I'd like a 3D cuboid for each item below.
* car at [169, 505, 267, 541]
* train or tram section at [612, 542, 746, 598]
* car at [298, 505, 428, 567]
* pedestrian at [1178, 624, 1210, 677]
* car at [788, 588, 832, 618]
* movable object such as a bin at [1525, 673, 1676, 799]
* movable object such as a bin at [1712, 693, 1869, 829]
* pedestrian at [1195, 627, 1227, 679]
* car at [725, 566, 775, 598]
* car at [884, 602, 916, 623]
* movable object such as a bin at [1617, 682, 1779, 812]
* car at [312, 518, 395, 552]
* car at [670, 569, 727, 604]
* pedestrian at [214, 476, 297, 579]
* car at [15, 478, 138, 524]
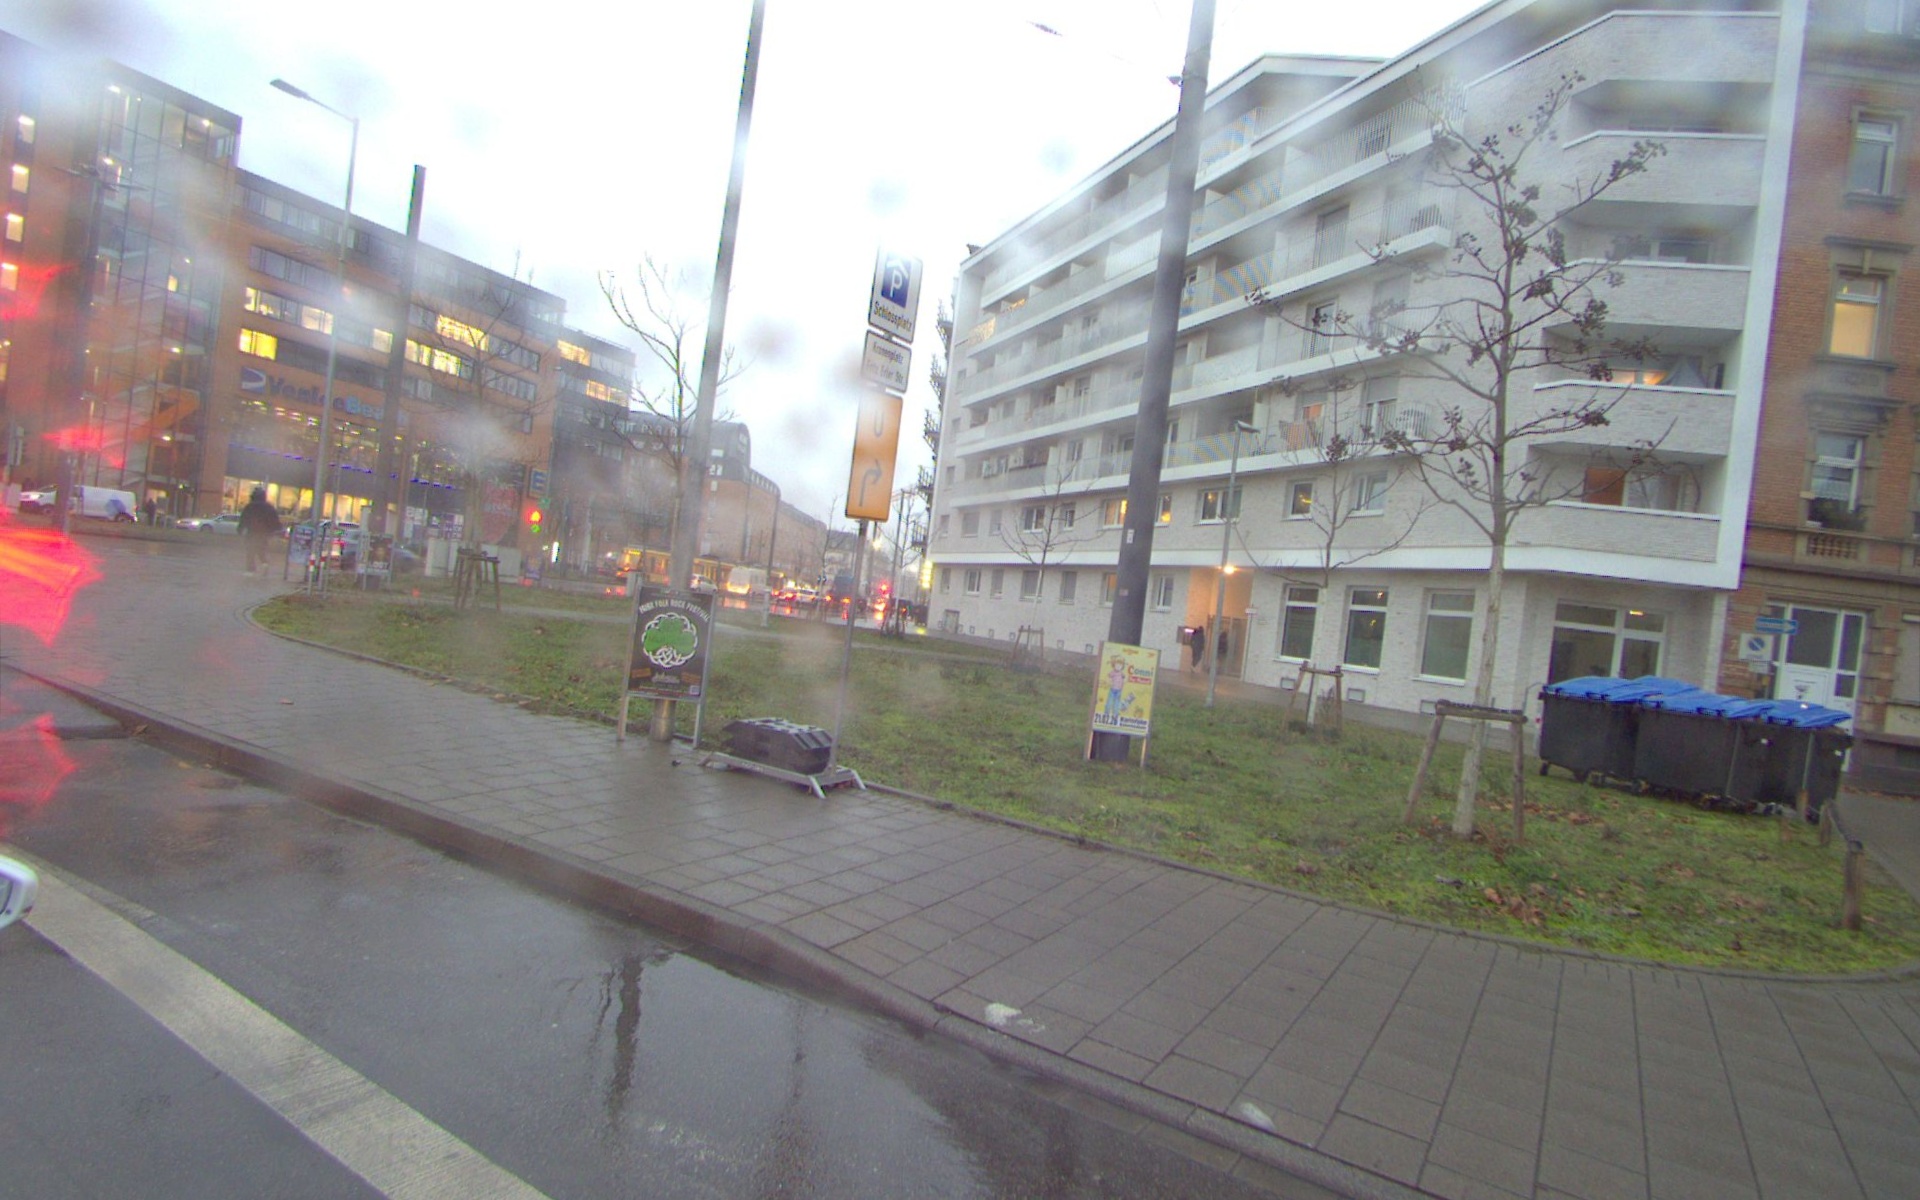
[{"bbox_3d":[-43.723,-4.508,59.378,1.767,1.406,4.227,7,-1,25],"label":"car"},{"bbox_3d":[-23.655,-2.405,86.580,2.293,3.300,16.666,7,-1,17],"label":"train or tram section"},{"bbox_3d":[-23.946,-2.530,40.517,1.963,1.898,3.998,8,1,21],"label":"car"},{"bbox_3d":[8.285,1.785,35.649,0.670,1.733,0.601,9,-1,-29],"label":"pedestrian"},{"bbox_3d":[-13.321,0.315,89.560,1.962,2.036,4.376,8,-2,16],"label":"car"},{"bbox_3d":[9.022,1.900,14.226,1.017,1.513,1.322,7,0,-22],"label":"movable object such as a bin"},{"bbox_3d":[10.772,2.063,13.085,1.021,1.507,1.039,9,-2,-12],"label":"movable object such as a bin"},{"bbox_3d":[8.991,1.908,36.056,0.670,1.733,0.625,9,-1,-29],"label":"pedestrian"},{"bbox_3d":[-17.523,-1.468,84.185,1.962,2.036,4.955,8,-2,13],"label":"car"},{"bbox_3d":[-6.392,1.340,107.426,1.962,1.600,4.094,8,-3,16],"label":"car"},{"bbox_3d":[9.530,1.882,13.034,1.003,1.434,1.218,6,1,-21],"label":"movable object such as a bin"},{"bbox_3d":[-40.604,-4.332,67.450,1.767,1.553,4.444,7,-1,25],"label":"car"},{"bbox_3d":[-19.855,-0.973,76.593,1.963,2.036,4.003,8,-2,22],"label":"car"},{"bbox_3d":[-14.887,-1.511,21.284,1.164,1.946,0.890,10,-2,-35],"label":"pedestrian"},{"bbox_3d":[-46.218,-5.141,52.761,1.767,1.614,4.431,7,-1,25],"label":"car"}]
